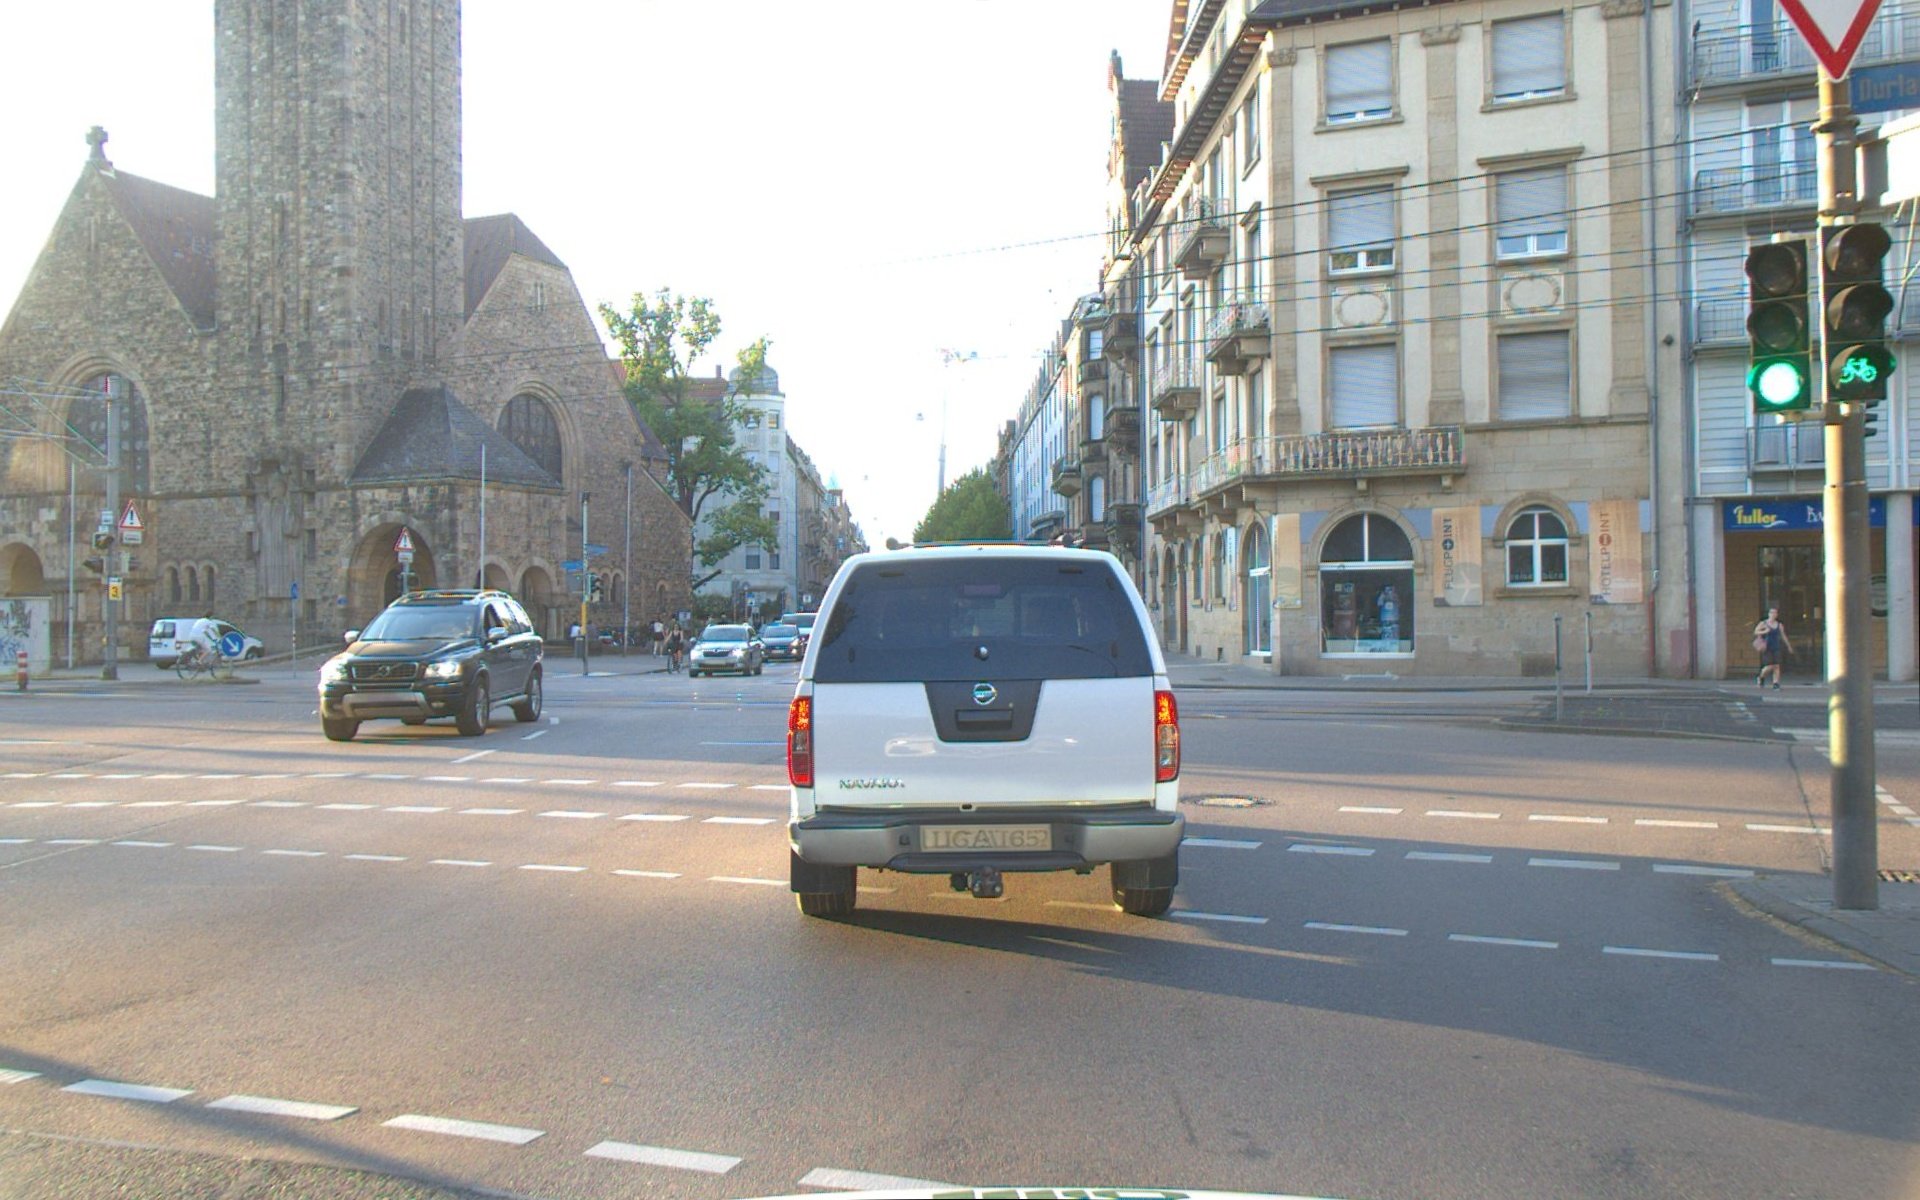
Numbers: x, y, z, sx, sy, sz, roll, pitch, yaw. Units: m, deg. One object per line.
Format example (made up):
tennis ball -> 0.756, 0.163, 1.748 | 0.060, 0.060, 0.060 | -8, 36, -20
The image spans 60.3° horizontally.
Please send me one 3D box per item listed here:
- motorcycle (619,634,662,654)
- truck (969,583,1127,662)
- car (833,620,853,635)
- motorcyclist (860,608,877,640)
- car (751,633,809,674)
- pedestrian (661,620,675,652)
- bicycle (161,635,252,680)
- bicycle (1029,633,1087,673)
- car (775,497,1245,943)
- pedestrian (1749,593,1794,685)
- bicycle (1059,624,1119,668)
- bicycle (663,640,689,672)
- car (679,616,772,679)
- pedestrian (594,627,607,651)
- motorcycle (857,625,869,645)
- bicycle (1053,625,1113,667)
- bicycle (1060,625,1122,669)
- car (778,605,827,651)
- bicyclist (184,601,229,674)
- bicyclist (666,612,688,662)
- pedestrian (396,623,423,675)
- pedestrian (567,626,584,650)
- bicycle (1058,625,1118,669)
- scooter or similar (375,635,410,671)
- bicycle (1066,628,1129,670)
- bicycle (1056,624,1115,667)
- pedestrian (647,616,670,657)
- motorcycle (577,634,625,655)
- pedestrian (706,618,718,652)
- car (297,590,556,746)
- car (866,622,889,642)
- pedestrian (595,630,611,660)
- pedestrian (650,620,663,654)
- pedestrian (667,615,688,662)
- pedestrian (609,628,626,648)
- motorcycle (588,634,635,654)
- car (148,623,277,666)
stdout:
motorcycle -> -16.250, 2.228, 84.202 | 2.120, 1.005, 0.594 | 0, -2, 20
truck -> 3.101, 0.786, 57.089 | 5.629, 2.610, 2.251 | 1, -1, -44
car -> -12.205, 2.859, 172.685 | 1.821, 1.556, 3.999 | 0, -1, -1
motorcyclist -> -4.863, 1.273, 88.019 | 0.857, 1.673, 0.963 | 0, -1, -2
car -> -7.182, 2.127, 66.421 | 1.953, 1.503, 4.138 | -1, -1, -1
pedestrian -> -15.503, 1.918, 87.765 | 0.629, 1.725, 0.562 | 0, -2, -1
bicycle -> -19.629, 1.484, 43.122 | 0.644, 1.096, 2.242 | 0, 1, 28
bicycle -> 3.028, 1.624, 50.976 | 1.692, 1.102, 0.317 | -4, -1, -3
car -> 0.207, 0.544, 8.906 | 1.953, 1.841, 3.999 | 1, -1, 0
pedestrian -> 16.165, 0.769, 32.961 | 0.771, 1.810, 0.543 | 0, -2, 25
bicycle -> 4.126, 1.468, 52.897 | 1.781, 1.259, 0.412 | -4, -1, -3
bicycle -> -9.483, 1.867, 55.306 | 0.587, 1.062, 1.945 | 0, -1, -1
car -> -6.738, 1.335, 47.990 | 1.952, 1.585, 4.769 | -1, 0, 1
pedestrian -> -14.887, 1.630, 68.506 | 0.513, 0.977, 0.477 | 1, -2, -16
motorcycle -> -5.160, 1.869, 88.020 | 0.587, 1.062, 1.945 | 0, -1, -1
bicycle -> 4.008, 1.495, 54.033 | 1.818, 1.259, 0.530 | -4, -1, -3
bicycle -> 4.072, 1.466, 51.460 | 1.781, 1.259, 0.488 | -4, -1, -3
car -> -7.355, 1.310, 77.673 | 1.953, 2.049, 4.948 | -1, -1, -2
bicyclist -> -19.628, 0.963, 43.111 | 0.644, 1.859, 0.857 | 0, 0, 32
bicyclist -> -9.480, 1.247, 55.495 | 0.587, 1.673, 0.963 | 0, -1, -2
pedestrian -> -18.309, 1.635, 55.031 | 0.620, 1.728, 0.603 | 0, -2, 11
pedestrian -> -15.943, 1.578, 68.610 | 0.510, 0.977, 0.479 | 0, -2, 17
bicycle -> 4.031, 1.486, 52.171 | 1.781, 1.259, 0.477 | -4, -1, -3
scooter or similar -> -18.441, 1.723, 53.747 | 0.620, 1.123, 1.079 | -2, -2, 10
bicycle -> 4.198, 1.491, 50.520 | 1.781, 1.170, 0.636 | -4, -1, -3
bicycle -> 4.053, 1.481, 53.502 | 1.781, 1.259, 0.410 | -4, -1, -3
pedestrian -> -12.600, 1.543, 69.159 | 0.796, 1.699, 0.859 | 0, -1, -2
motorcycle -> -17.328, 2.128, 79.883 | 2.200, 1.005, 0.707 | 0, -1, -6
pedestrian -> -14.112, 1.982, 94.036 | 0.632, 1.888, 0.559 | 1, -2, -15
car -> -6.811, 0.799, 21.714 | 1.953, 1.816, 4.796 | 0, 0, -1
car -> -6.741, 2.637, 136.087 | 1.821, 1.556, 3.998 | 0, -1, -2
pedestrian -> -15.381, 1.946, 71.197 | 0.468, 1.267, 0.523 | 0, -2, 17
pedestrian -> -15.711, 1.914, 85.724 | 0.631, 1.725, 0.561 | 1, -2, -9
pedestrian -> -11.809, 1.610, 69.177 | 0.796, 1.934, 0.666 | 0, -2, -2
pedestrian -> -16.541, 1.826, 79.890 | 0.540, 0.977, 0.709 | 0, -2, 20
motorcycle -> -17.244, 2.173, 81.910 | 2.200, 1.005, 0.707 | 0, -1, -6
car -> -28.267, 1.675, 62.707 | 1.679, 1.543, 4.453 | 0, -1, 24
